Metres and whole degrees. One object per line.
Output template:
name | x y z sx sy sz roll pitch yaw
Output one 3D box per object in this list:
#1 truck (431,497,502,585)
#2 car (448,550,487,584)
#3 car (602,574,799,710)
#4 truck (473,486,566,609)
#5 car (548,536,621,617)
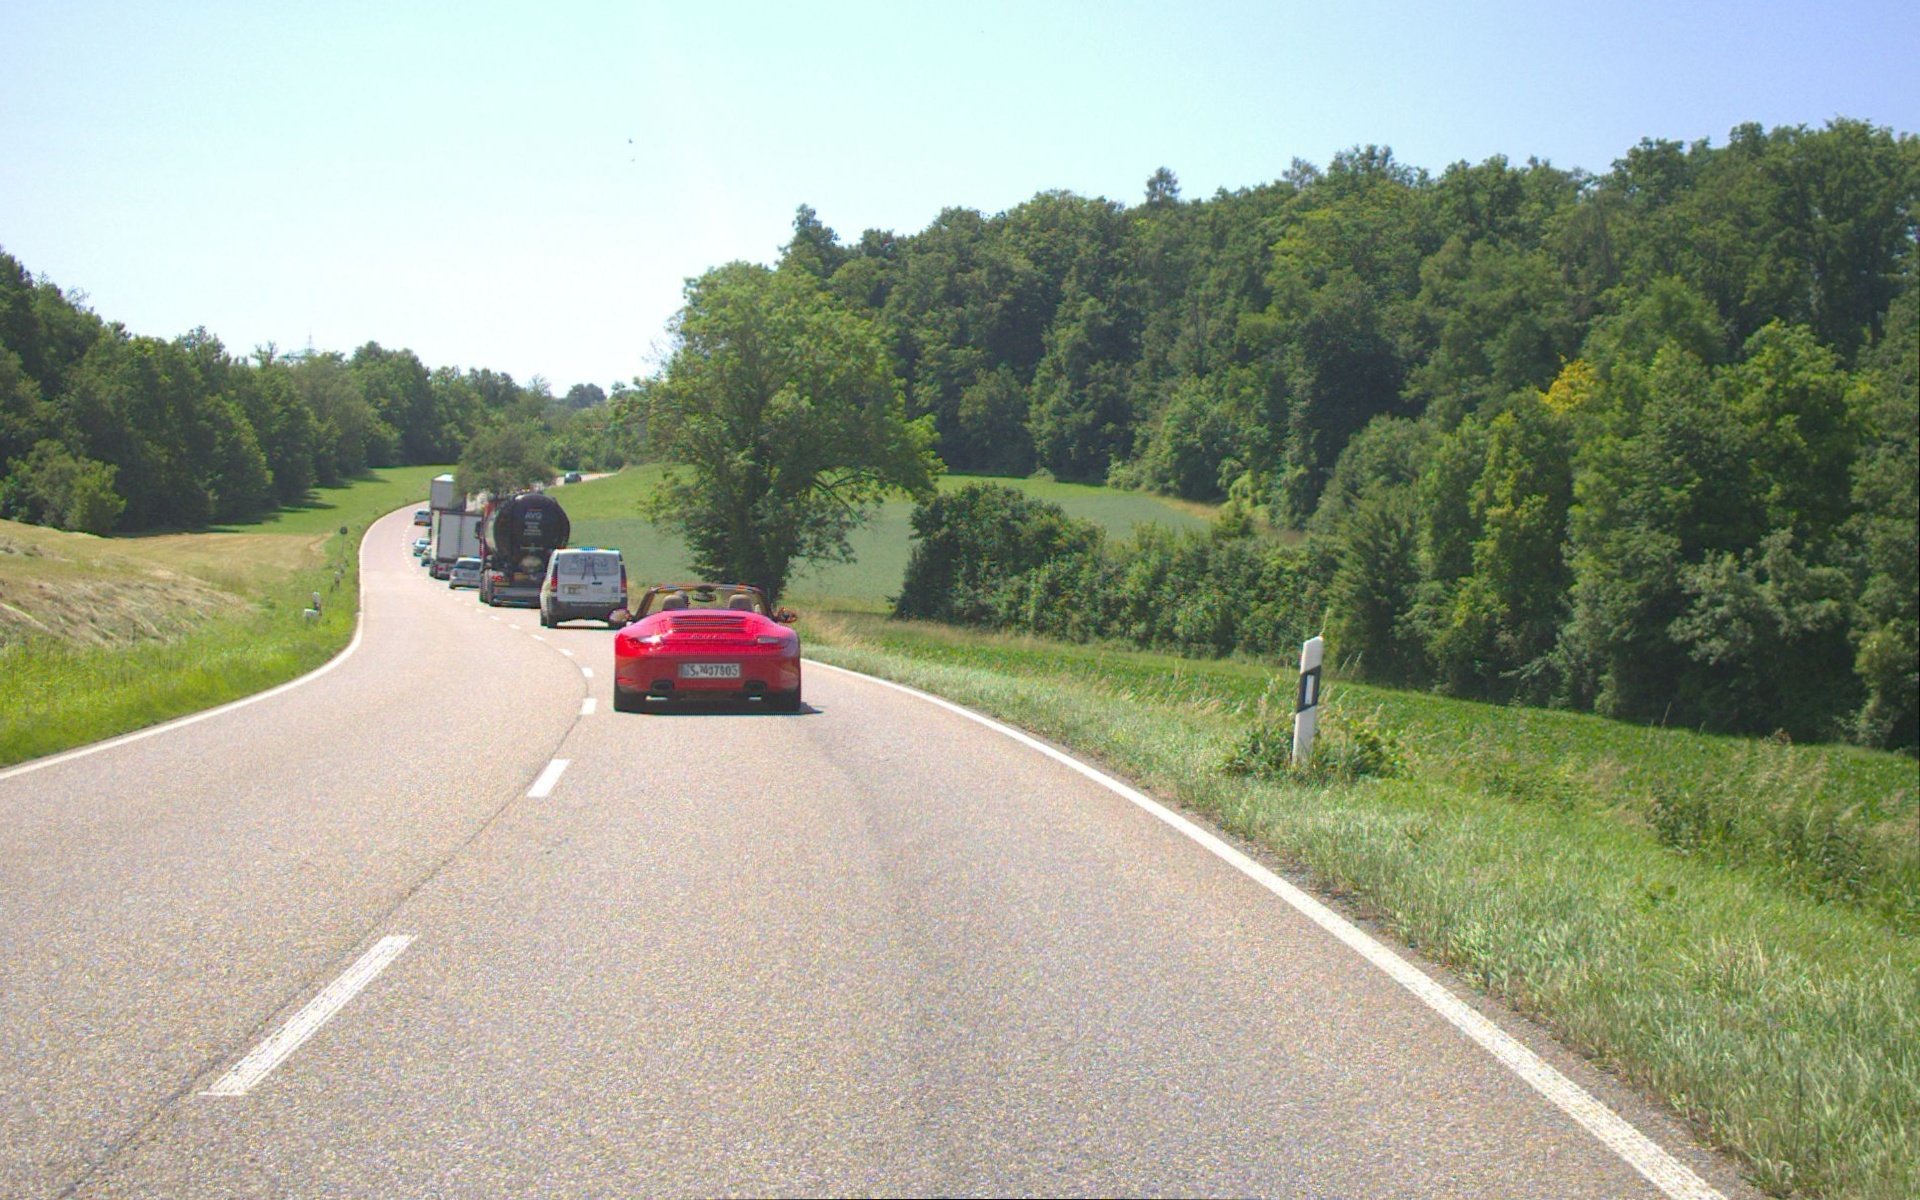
truck | -29.500 -3.597 205.026 3.724 4.644 12.036 1 3 -10
car | -23.722 -1.590 165.542 1.722 1.579 4.161 1 1 -10
car | -2.615 0.395 35.207 1.882 1.251 4.010 1 1 -3
truck | -15.409 -1.871 119.601 2.403 4.036 12.554 1 1 -11
car | -9.077 -0.598 83.002 1.678 1.894 4.010 0 1 -7
